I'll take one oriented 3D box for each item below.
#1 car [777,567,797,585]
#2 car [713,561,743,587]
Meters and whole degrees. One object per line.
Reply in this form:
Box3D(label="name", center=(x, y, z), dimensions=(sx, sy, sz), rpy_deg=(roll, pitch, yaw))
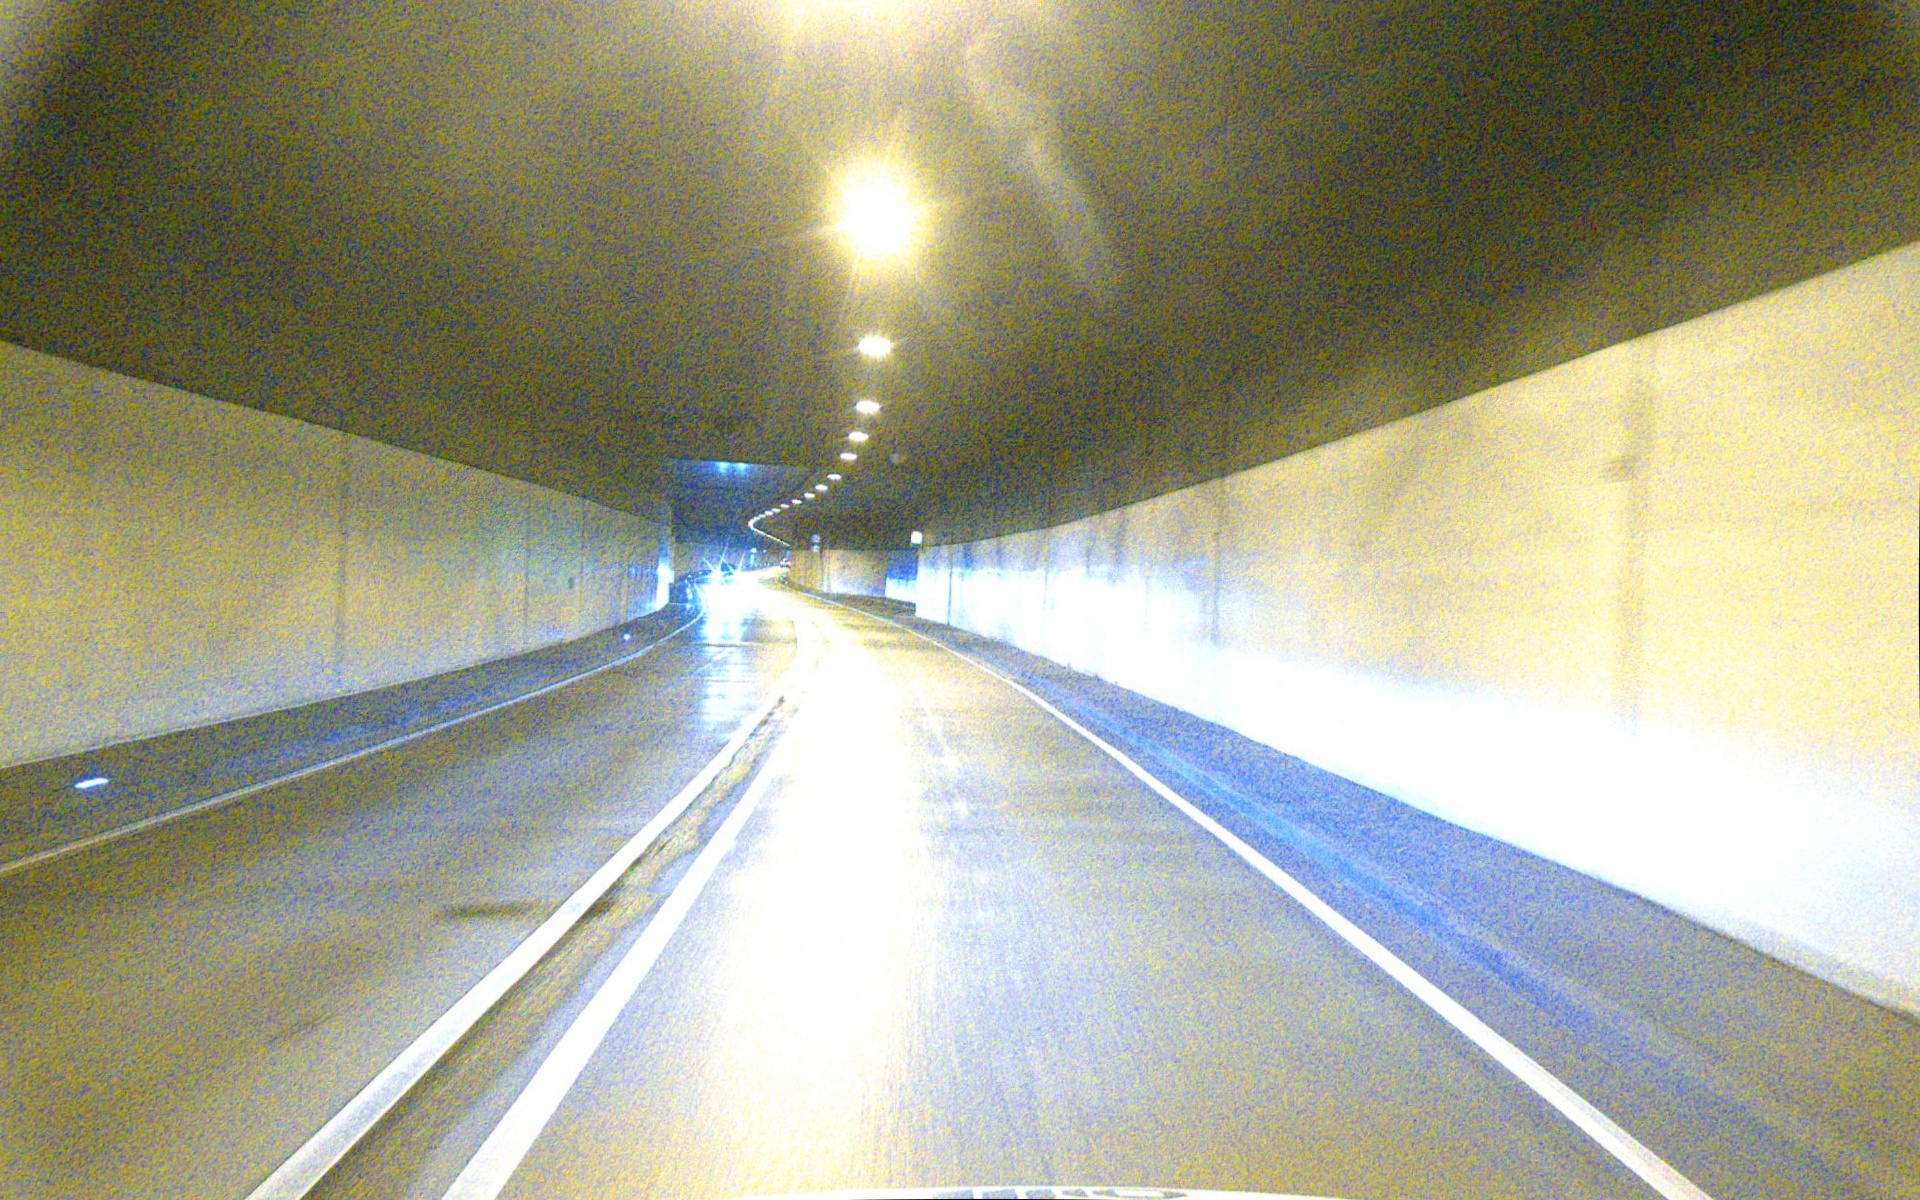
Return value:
Box3D(label="car", center=(-15.480, -2.126, 147.988), dimensions=(1.566, 1.481, 3.613), rpy_deg=(2, -1, -9))
Box3D(label="car", center=(-16.185, -1.801, 115.367), dimensions=(1.956, 1.624, 3.993), rpy_deg=(2, -1, -8))
